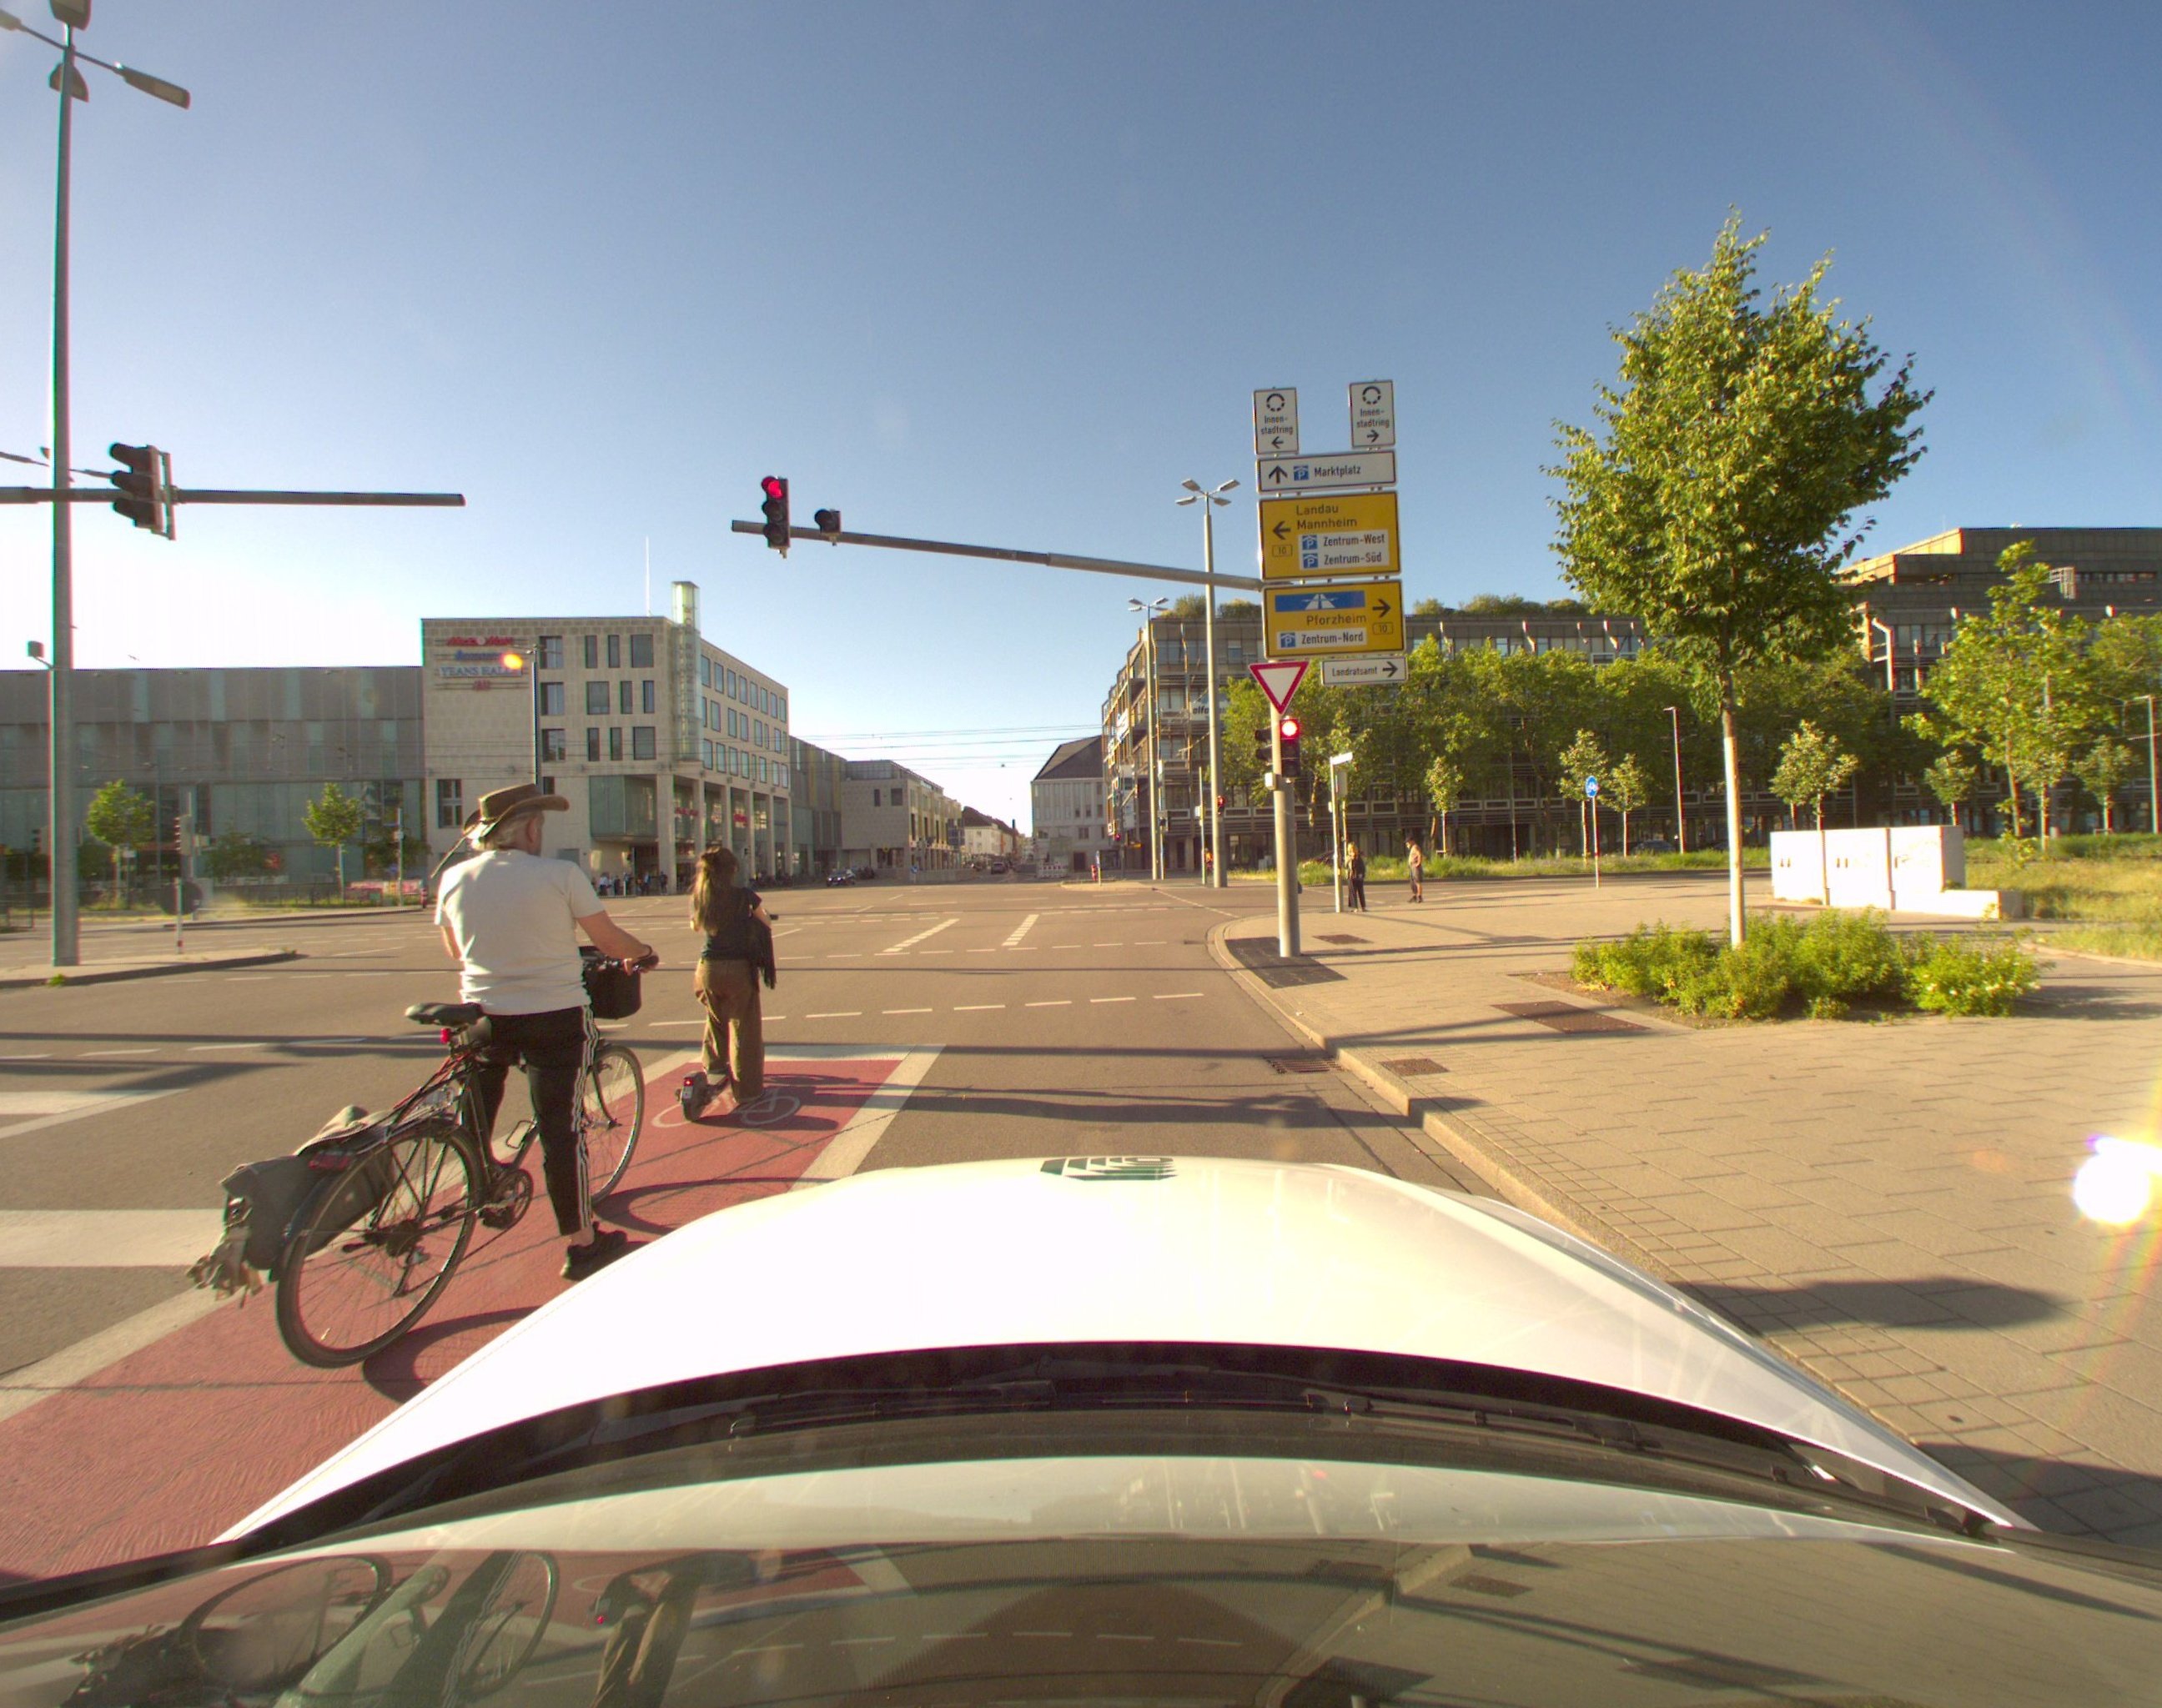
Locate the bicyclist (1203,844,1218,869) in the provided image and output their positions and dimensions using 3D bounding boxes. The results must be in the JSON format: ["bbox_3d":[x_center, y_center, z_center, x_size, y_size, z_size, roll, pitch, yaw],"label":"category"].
[{"bbox_3d":[7.416,0.151,46.655,0.710,1.437,0.496,0,-1,-7],"label":"bicyclist"}]

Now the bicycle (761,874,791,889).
[{"bbox_3d":[-26.463,2.409,70.652,2.299,1.222,0.612,-2,0,-1],"label":"bicycle"}]

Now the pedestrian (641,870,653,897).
[{"bbox_3d":[-31.056,2.097,58.221,0.718,1.885,0.781,0,-1,-25],"label":"pedestrian"}]

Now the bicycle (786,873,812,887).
[{"bbox_3d":[-27.064,2.475,78.132,2.299,1.222,0.612,-2,0,-1],"label":"bicycle"}]

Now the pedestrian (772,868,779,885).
[{"bbox_3d":[-30.077,2.212,80.141,0.570,1.679,0.614,0,0,-8],"label":"pedestrian"}]

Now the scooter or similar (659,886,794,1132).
[{"bbox_3d":[-2.156,0.869,5.076,0.547,1.294,1.188,0,-1,-13],"label":"scooter or similar"}]

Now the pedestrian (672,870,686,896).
[{"bbox_3d":[-29.106,2.060,58.941,0.801,1.843,0.855,-2,0,-30],"label":"pedestrian"}]

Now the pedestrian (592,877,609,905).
[{"bbox_3d":[-33.869,2.607,57.374,0.783,1.885,0.716,0,-1,-4],"label":"pedestrian"}]

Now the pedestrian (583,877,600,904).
[{"bbox_3d":[-35.078,2.592,58.412,0.783,1.885,0.716,0,-1,-4],"label":"pedestrian"}]

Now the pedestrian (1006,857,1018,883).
[{"bbox_3d":[-5.174,1.207,61.412,0.637,1.890,0.794,-1,-1,16],"label":"pedestrian"}]

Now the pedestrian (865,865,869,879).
[{"bbox_3d":[-26.103,2.182,99.356,0.521,1.679,0.580,0,0,-12],"label":"pedestrian"}]

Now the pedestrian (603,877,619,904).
[{"bbox_3d":[-33.915,2.618,58.729,0.714,1.885,0.786,0,-1,-6],"label":"pedestrian"}]

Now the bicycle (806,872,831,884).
[{"bbox_3d":[-27.589,2.540,85.582,2.299,1.222,0.612,-2,0,-1],"label":"bicycle"}]

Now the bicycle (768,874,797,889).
[{"bbox_3d":[-26.741,2.429,72.897,2.299,1.222,0.612,-2,0,-1],"label":"bicycle"}]

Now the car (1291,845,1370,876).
[{"bbox_3d":[14.055,0.352,45.970,3.880,1.585,1.656,-2,-1,-6],"label":"car"}]

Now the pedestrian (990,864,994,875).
[{"bbox_3d":[-12.821,2.230,117.491,0.520,1.679,0.582,0,0,-5],"label":"pedestrian"}]

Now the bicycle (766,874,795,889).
[{"bbox_3d":[-26.566,2.421,72.012,2.299,1.222,0.612,-2,0,-1],"label":"bicycle"}]

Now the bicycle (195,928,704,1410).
[{"bbox_3d":[-2.147,0.942,3.139,0.483,1.156,1.832,0,-1,2],"label":"bicycle"}]

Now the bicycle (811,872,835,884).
[{"bbox_3d":[-27.425,2.547,86.648,2.299,1.222,0.612,-2,0,-1],"label":"bicycle"}]

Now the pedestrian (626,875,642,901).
[{"bbox_3d":[-32.513,2.462,59.244,0.783,1.885,0.716,0,-1,-4],"label":"pedestrian"}]

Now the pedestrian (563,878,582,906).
[{"bbox_3d":[-36.991,2.731,59.248,0.883,2.014,0.771,0,-1,-9],"label":"pedestrian"}]

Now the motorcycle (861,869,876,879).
[{"bbox_3d":[-25.783,2.421,98.740,1.807,1.206,0.509,0,0,-14],"label":"motorcycle"}]

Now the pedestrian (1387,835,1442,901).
[{"bbox_3d":[8.601,0.347,21.035,0.881,1.665,0.958,0,-1,-19],"label":"pedestrian"}]

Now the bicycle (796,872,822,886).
[{"bbox_3d":[-27.186,2.502,81.344,2.299,1.222,0.612,-2,0,-1],"label":"bicycle"}]

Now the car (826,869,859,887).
[{"bbox_3d":[-20.625,2.044,70.508,1.625,1.342,3.999,-4,-1,0],"label":"car"}]

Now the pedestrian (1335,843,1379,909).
[{"bbox_3d":[6.310,0.498,18.656,0.785,1.492,0.644,0,-1,1],"label":"pedestrian"}]

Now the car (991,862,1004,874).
[{"bbox_3d":[-11.139,1.848,108.656,1.735,1.531,3.848,0,-1,-5],"label":"car"}]

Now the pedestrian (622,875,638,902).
[{"bbox_3d":[-31.947,2.445,57.693,0.783,1.885,0.716,0,-1,-4],"label":"pedestrian"}]

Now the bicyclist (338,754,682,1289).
[{"bbox_3d":[-2.055,0.542,3.062,0.658,1.720,0.866,0,-1,1],"label":"bicyclist"}]

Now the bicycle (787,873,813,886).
[{"bbox_3d":[-27.630,2.495,80.127,2.299,1.222,0.612,-2,0,-1],"label":"bicycle"}]

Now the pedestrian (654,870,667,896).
[{"bbox_3d":[-30.793,2.112,59.667,0.800,1.843,0.856,-2,0,-26],"label":"pedestrian"}]

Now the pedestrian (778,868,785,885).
[{"bbox_3d":[-29.513,2.186,80.247,0.553,1.679,0.606,0,0,-8],"label":"pedestrian"}]

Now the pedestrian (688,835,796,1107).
[{"bbox_3d":[-2.162,0.704,5.245,0.549,1.633,0.569,0,-1,-13],"label":"pedestrian"}]

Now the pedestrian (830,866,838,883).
[{"bbox_3d":[-24.296,2.010,80.115,0.650,1.719,0.447,-2,0,-22],"label":"pedestrian"}]

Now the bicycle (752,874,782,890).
[{"bbox_3d":[-26.734,2.401,69.375,2.299,1.222,0.612,-2,0,-1],"label":"bicycle"}]

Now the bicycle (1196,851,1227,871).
[{"bbox_3d":[7.474,0.401,46.671,1.643,1.154,0.496,0,-1,-8],"label":"bicycle"}]

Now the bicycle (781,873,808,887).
[{"bbox_3d":[-26.698,2.454,75.964,2.299,1.222,0.612,-2,0,-1],"label":"bicycle"}]
